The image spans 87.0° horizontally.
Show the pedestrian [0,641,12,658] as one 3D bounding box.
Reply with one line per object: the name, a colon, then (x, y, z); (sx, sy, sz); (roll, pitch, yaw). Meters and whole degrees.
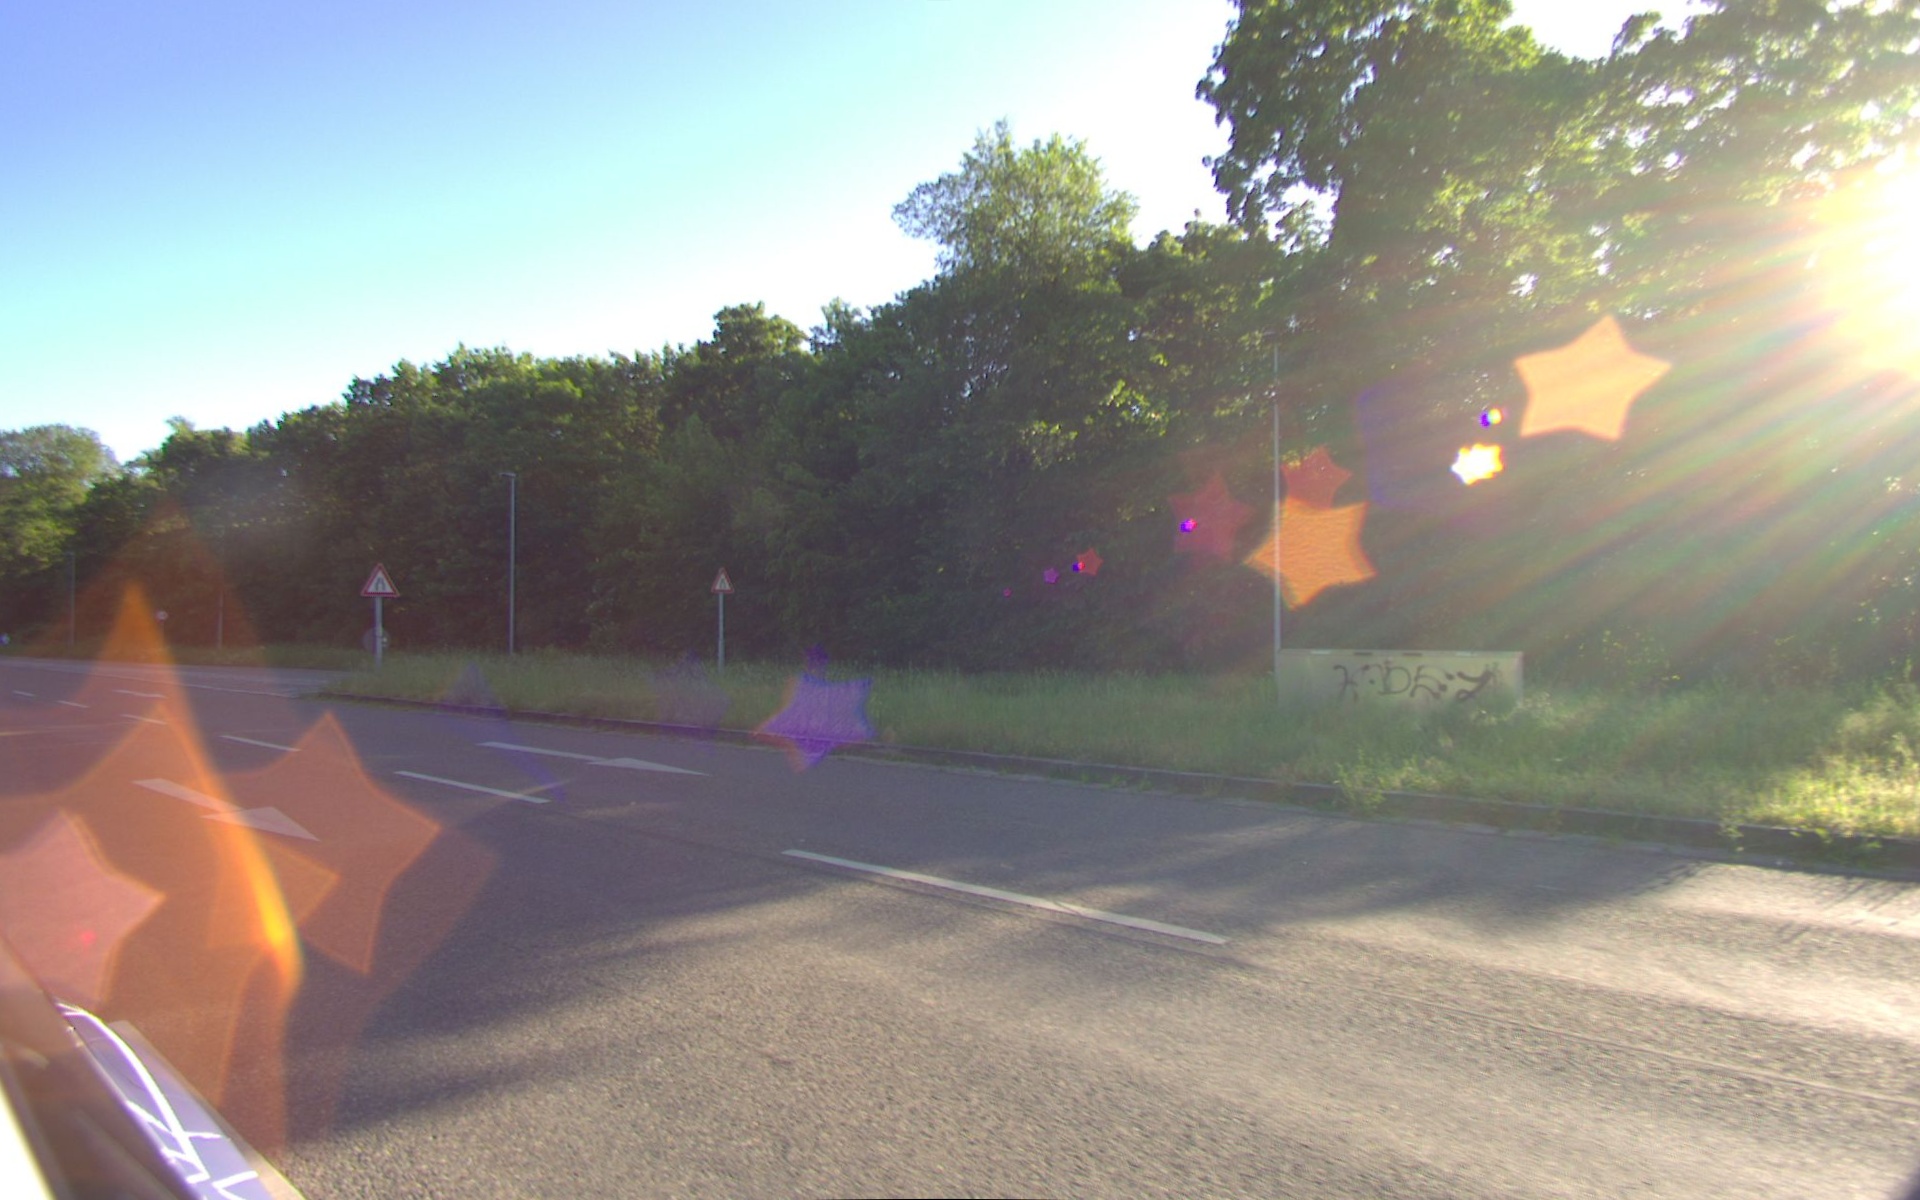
pedestrian: (-90.613, 4.724, 96.076); (0.825, 1.577, 0.704); (-2, -4, 40)
